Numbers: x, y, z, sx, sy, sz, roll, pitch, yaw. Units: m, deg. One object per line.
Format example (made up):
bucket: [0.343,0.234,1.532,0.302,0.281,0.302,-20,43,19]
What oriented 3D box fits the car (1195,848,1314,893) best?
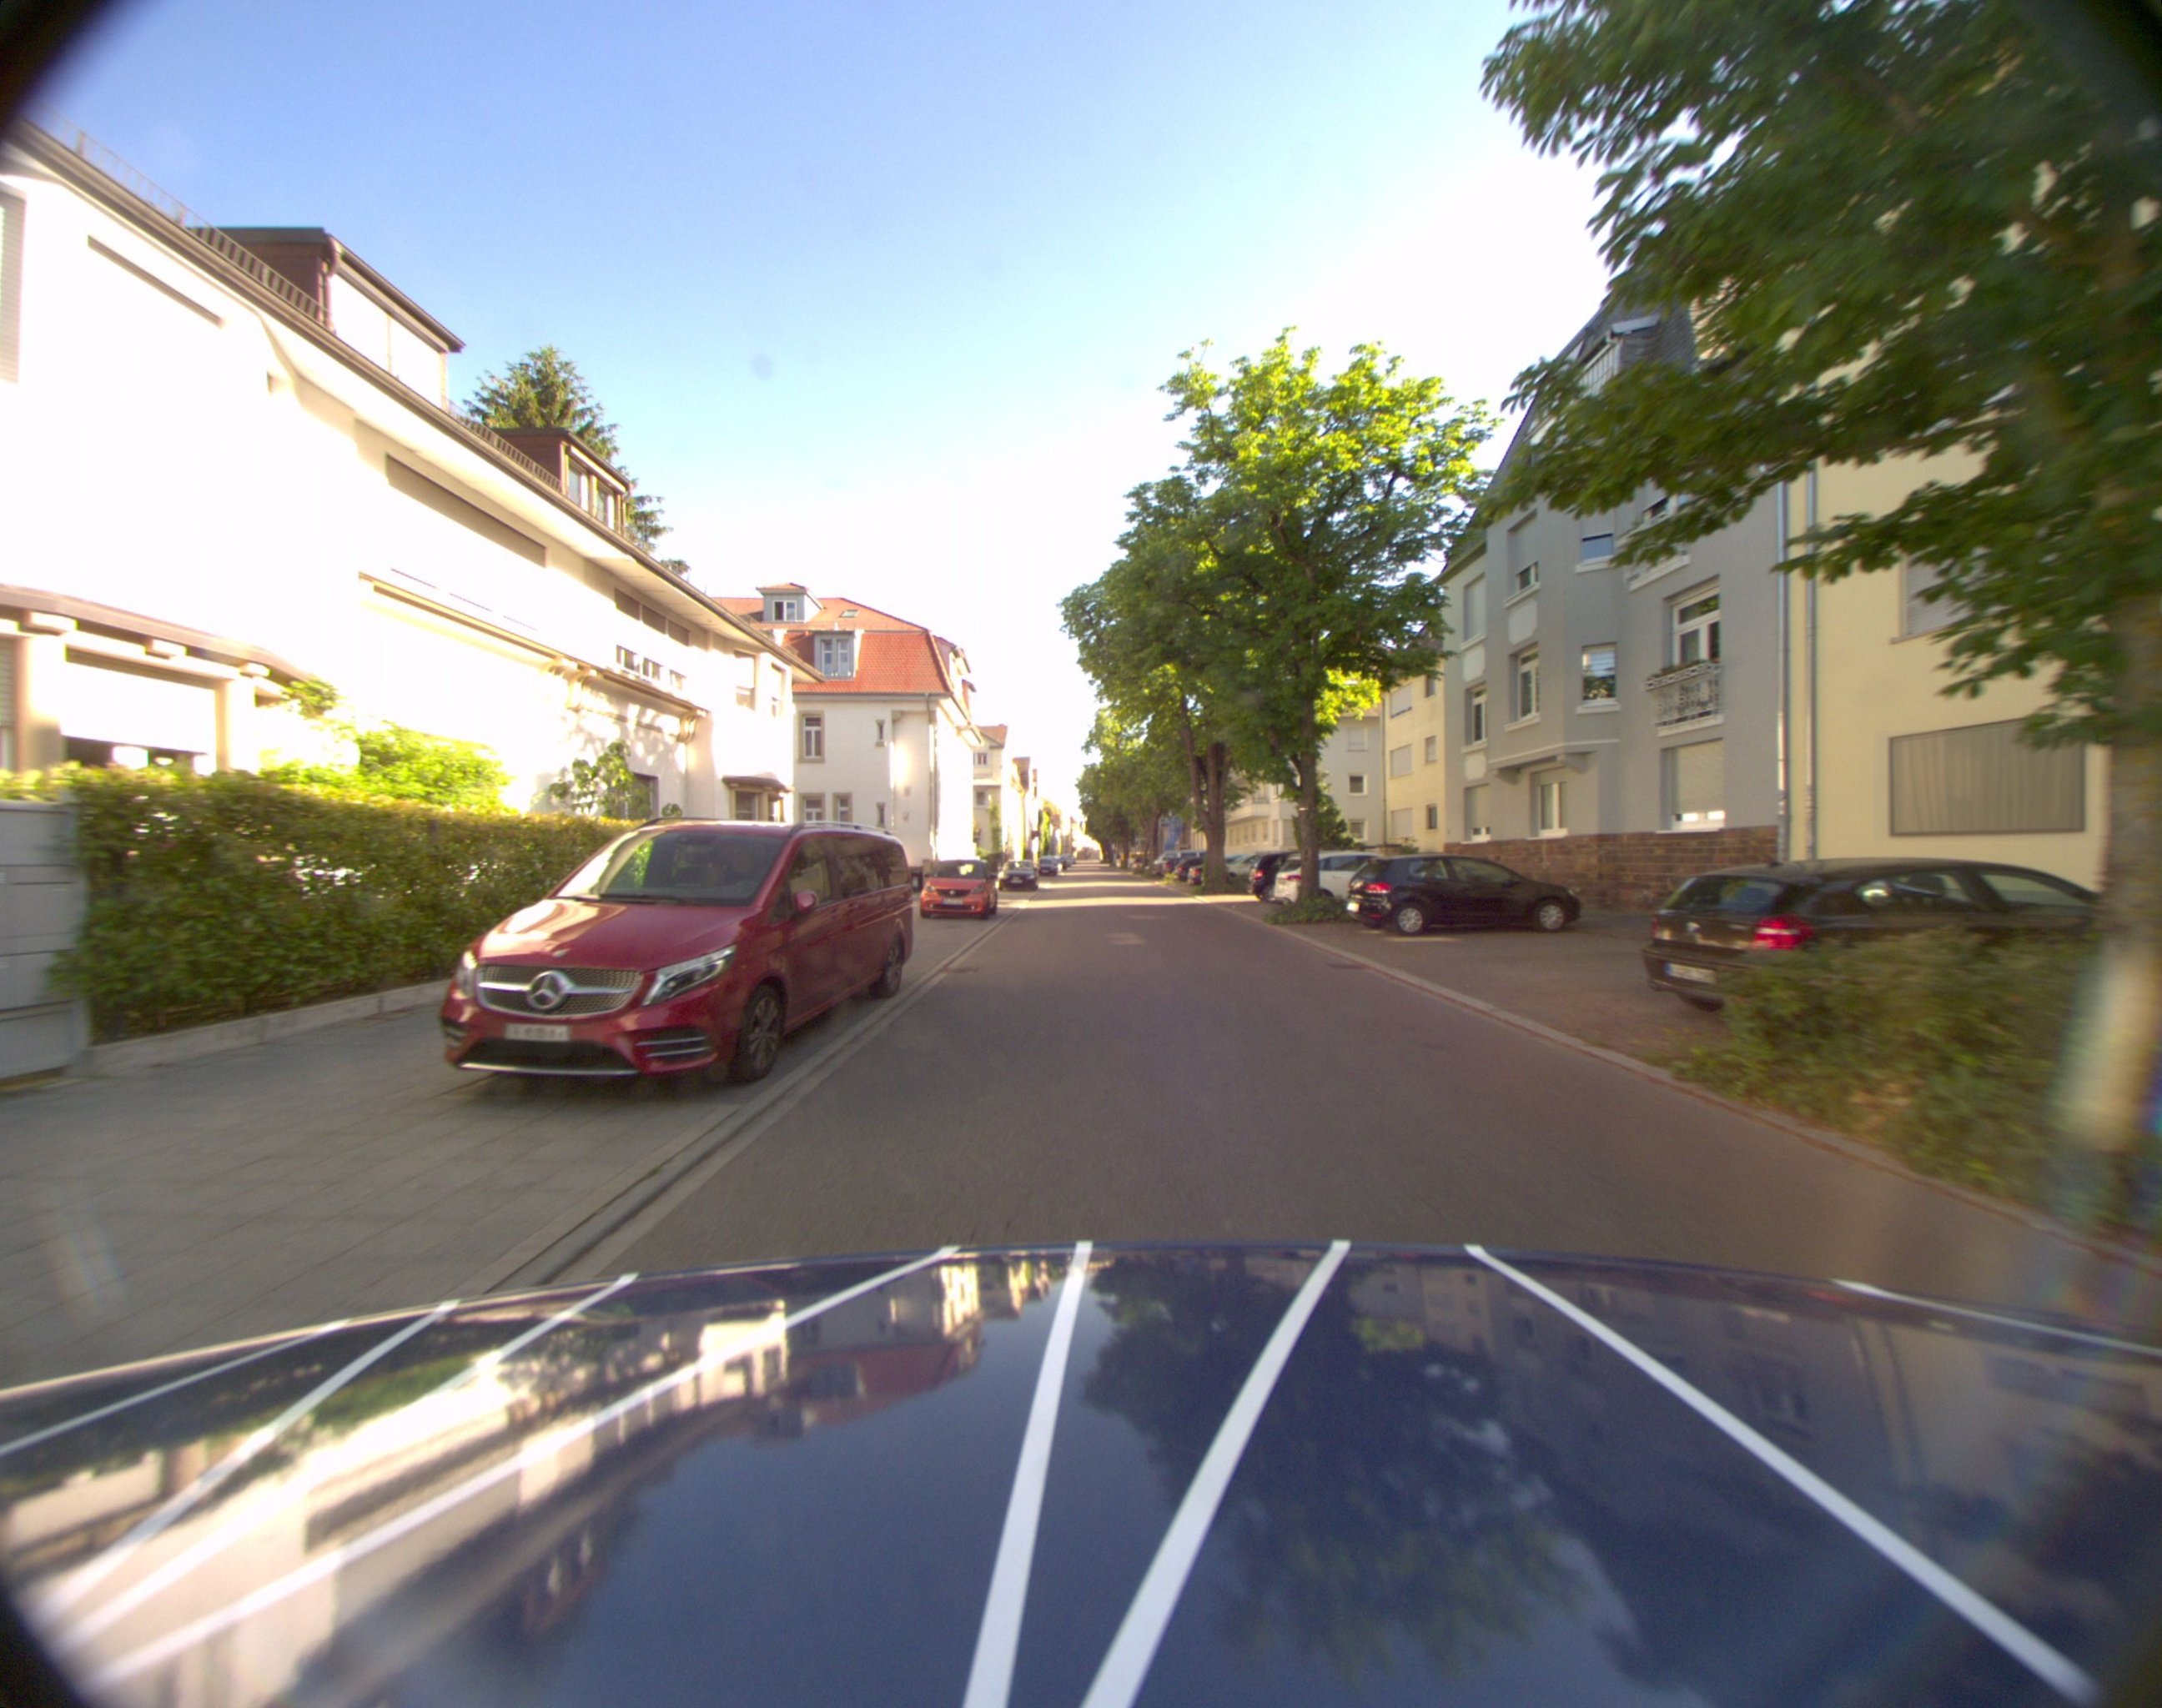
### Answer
car: [6.999,0.659,30.949,4.397,1.642,1.823,-2,0,1]

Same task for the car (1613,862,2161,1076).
car: [7.051,0.831,6.314,3.997,1.413,1.771,-2,-1,0]

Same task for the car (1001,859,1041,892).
car: [-2.802,0.979,36.091,1.624,1.431,3.934,2,0,-1]

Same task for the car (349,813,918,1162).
car: [-3.016,0.698,6.769,1.876,1.894,5.197,1,1,2]

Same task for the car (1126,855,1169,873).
car: [6.535,0.954,75.096,3.883,1.505,1.831,-3,1,-8]

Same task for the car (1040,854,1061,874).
car: [-2.475,0.790,61.814,1.667,1.511,3.999,1,1,-3]

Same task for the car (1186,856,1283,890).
car: [6.771,0.807,33.815,3.997,1.460,1.697,0,0,0]

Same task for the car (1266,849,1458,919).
car: [6.837,0.704,18.773,4.033,1.476,1.807,-2,0,0]

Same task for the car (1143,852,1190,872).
car: [6.873,0.633,61.412,3.652,1.454,1.710,-2,1,2]

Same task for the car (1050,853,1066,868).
car: [-2.552,0.676,85.366,1.629,1.540,2.868,-1,1,0]

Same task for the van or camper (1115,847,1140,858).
van or camper: [7.470,-0.255,121.860,3.954,1.763,1.809,-1,-1,0]

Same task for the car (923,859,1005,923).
car: [-2.991,0.899,19.990,1.596,1.472,3.247,2,0,0]

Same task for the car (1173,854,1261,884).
car: [6.906,0.749,38.893,4.198,1.490,1.861,0,0,-1]

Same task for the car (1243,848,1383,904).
car: [7.265,0.672,24.072,3.872,1.566,1.848,-2,0,3]

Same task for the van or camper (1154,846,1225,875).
van or camper: [7.227,0.428,51.124,4.508,1.903,1.964,-1,1,0]

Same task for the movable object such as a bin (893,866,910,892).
movable object such as a bin: [-7.747,1.088,32.771,0.557,1.056,0.696,-2,2,-3]

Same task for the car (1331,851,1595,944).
car: [7.049,0.766,14.306,4.033,1.436,1.799,-2,1,-1]

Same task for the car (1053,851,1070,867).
car: [-2.341,0.565,90.452,1.782,1.686,4.319,-2,1,1]

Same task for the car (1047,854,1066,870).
car: [-2.367,0.757,74.047,1.713,1.428,4.192,2,1,0]

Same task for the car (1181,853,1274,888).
car: [6.876,0.748,35.912,3.997,1.583,1.878,0,0,-1]

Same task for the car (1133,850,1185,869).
car: [7.323,0.511,71.448,4.601,1.598,1.832,-2,0,-2]

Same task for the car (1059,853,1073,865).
car: [-2.212,0.695,109.924,1.872,1.635,4.199,0,0,1]

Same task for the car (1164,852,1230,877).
car: [7.318,0.671,48.299,3.955,1.490,1.662,-1,0,2]

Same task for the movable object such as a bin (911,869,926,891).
movable object such as a bin: [-7.013,1.120,32.878,0.487,0.931,0.653,-2,2,-3]

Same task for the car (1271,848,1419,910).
car: [7.451,0.688,21.645,3.525,1.566,1.770,-2,0,-5]
